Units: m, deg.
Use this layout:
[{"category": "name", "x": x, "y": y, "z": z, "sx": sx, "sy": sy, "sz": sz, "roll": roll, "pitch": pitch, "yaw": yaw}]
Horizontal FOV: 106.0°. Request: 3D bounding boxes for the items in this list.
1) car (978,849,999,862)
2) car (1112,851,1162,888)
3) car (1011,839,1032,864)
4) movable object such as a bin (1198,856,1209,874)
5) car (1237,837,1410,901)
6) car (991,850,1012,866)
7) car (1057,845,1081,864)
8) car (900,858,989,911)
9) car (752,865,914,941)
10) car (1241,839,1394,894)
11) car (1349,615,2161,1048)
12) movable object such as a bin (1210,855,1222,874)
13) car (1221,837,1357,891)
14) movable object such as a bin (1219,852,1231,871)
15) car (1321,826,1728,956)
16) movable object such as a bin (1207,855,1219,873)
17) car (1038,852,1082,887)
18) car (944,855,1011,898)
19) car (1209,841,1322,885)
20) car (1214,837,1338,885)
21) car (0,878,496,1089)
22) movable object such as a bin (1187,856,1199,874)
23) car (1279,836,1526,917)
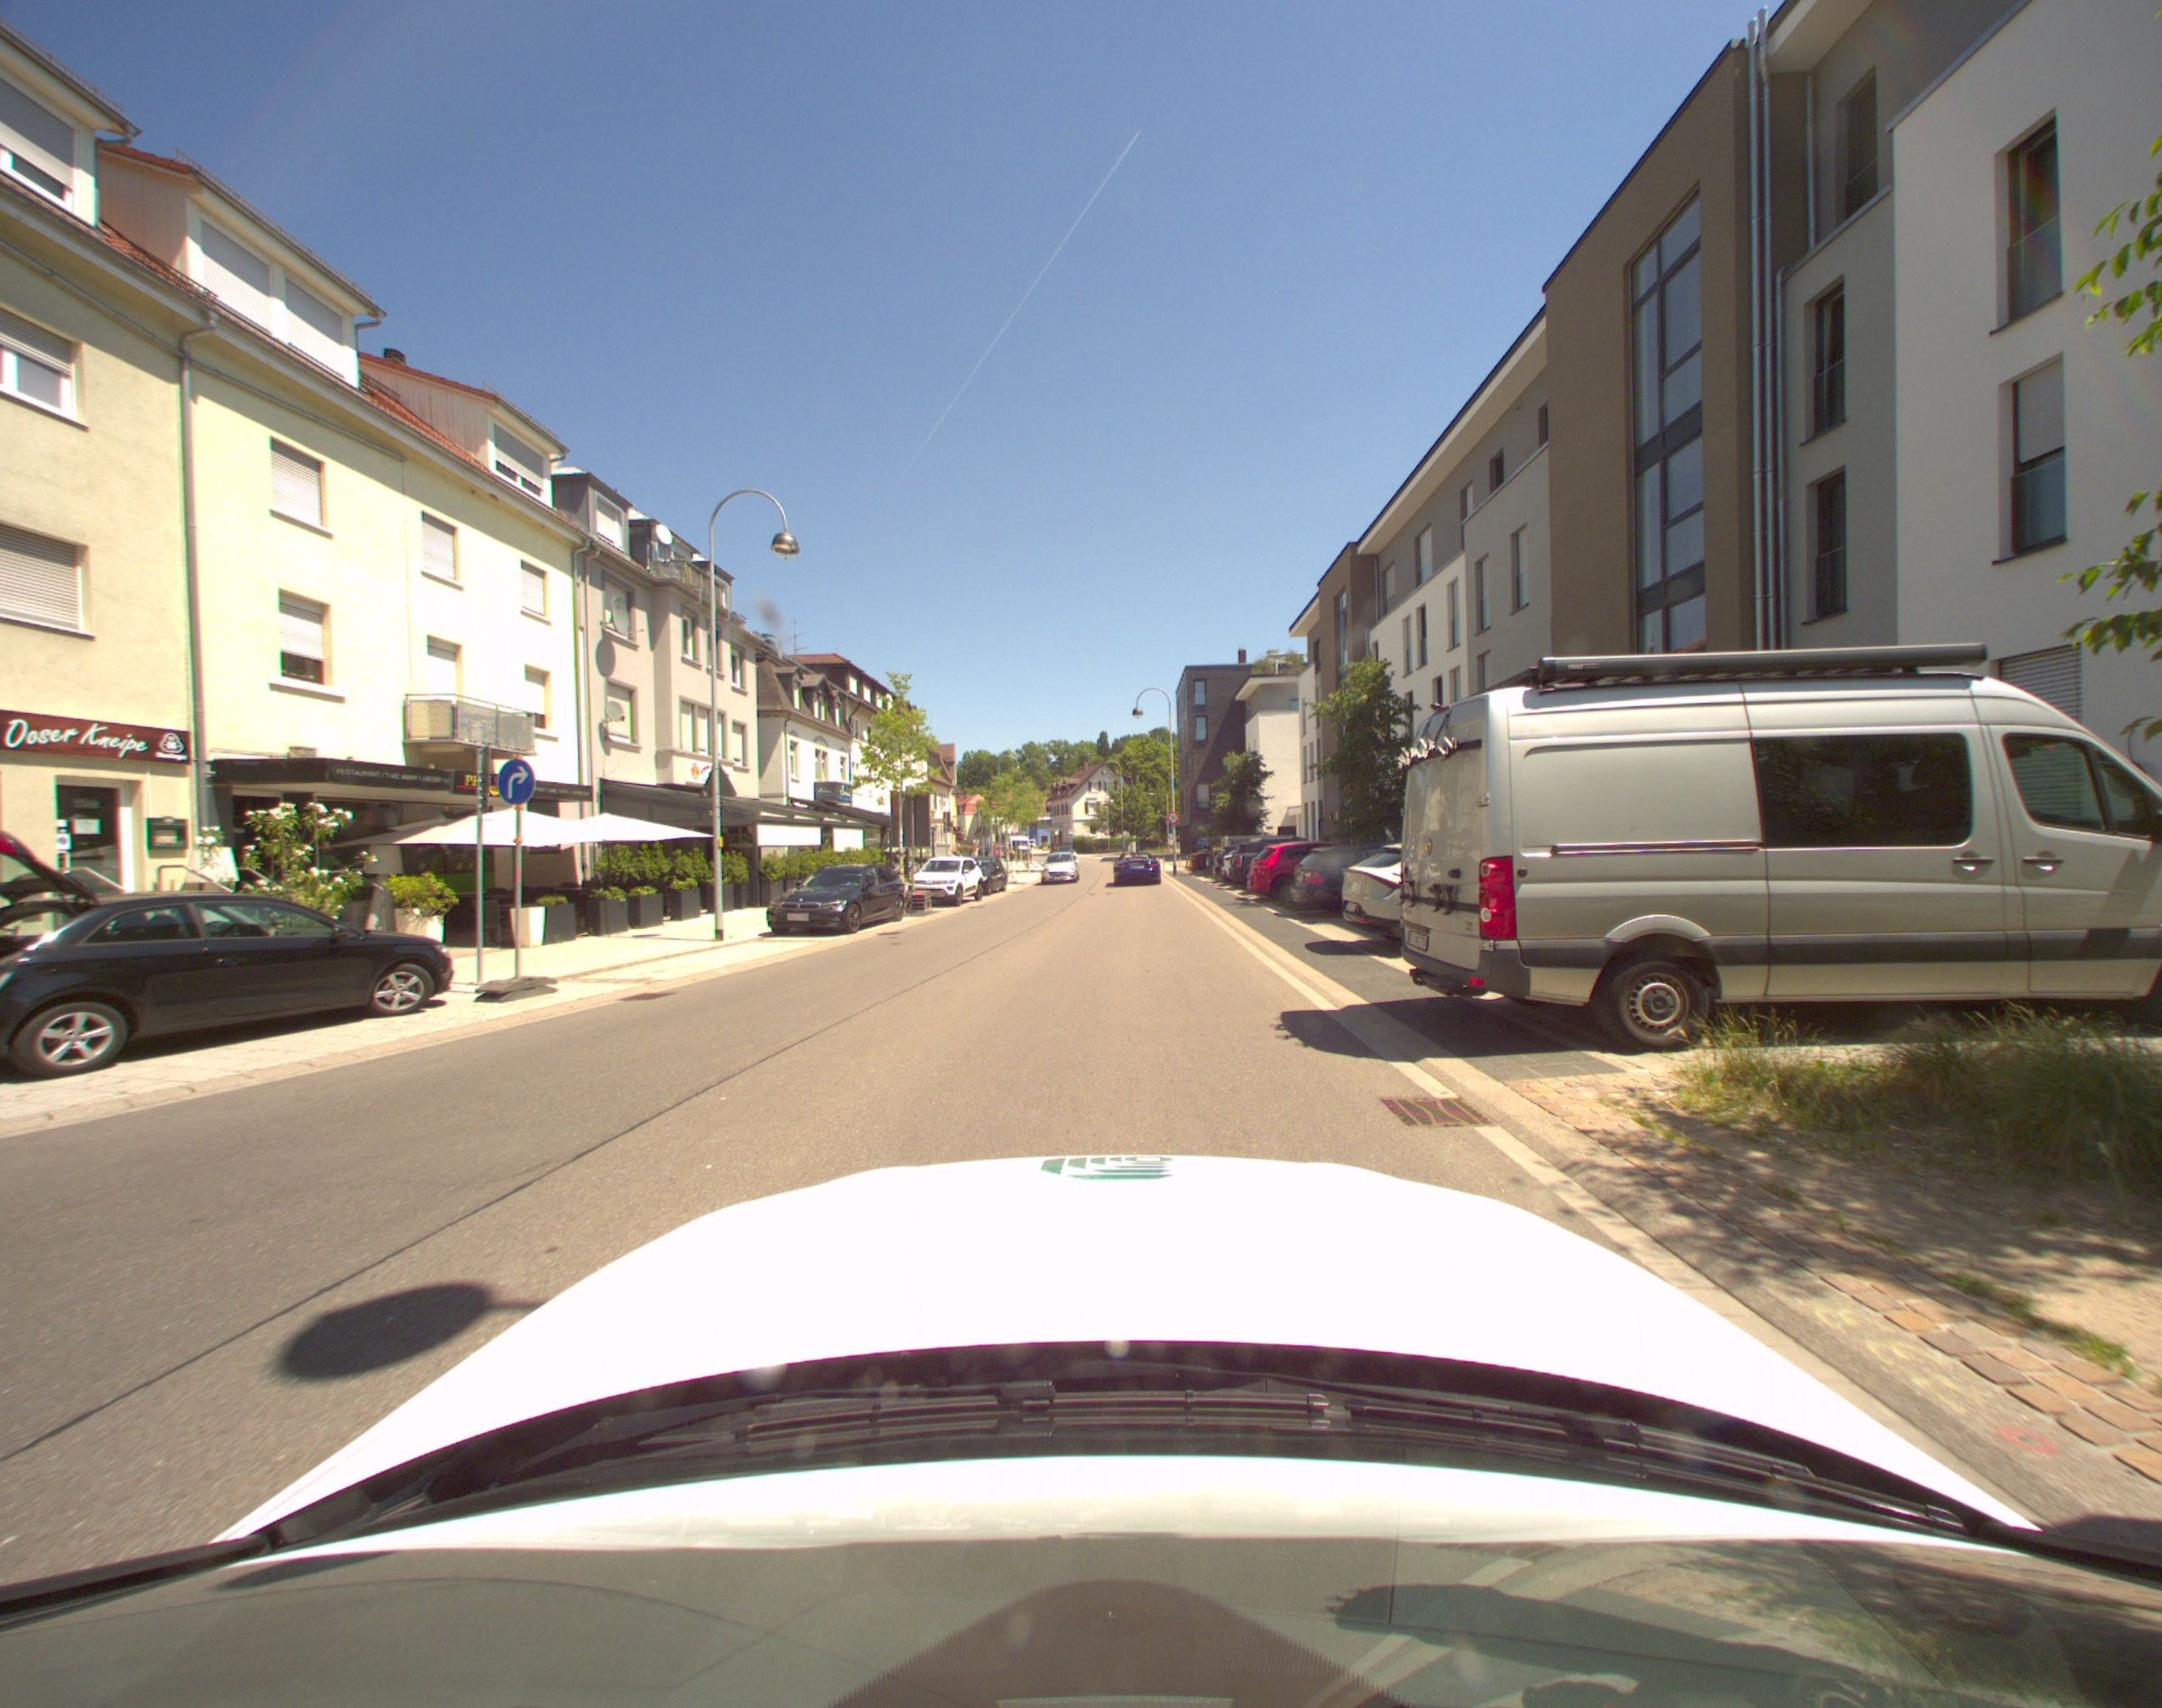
[{"category": "car", "x": -11.815, "y": 0.176, "z": 103.442, "sx": 1.998, "sy": 1.692, "sz": 3.978, "roll": -1, "pitch": 0, "yaw": -16}, {"category": "car", "x": 2.401, "y": 0.596, "z": 33.933, "sx": 1.861, "sy": 1.342, "sz": 4.604, "roll": -3, "pitch": 0, "yaw": 6}, {"category": "car", "x": -6.069, "y": -0.286, "z": 82.633, "sx": 1.865, "sy": 2.400, "sz": 4.805, "roll": -2, "pitch": 0, "yaw": -8}, {"category": "movable object such as a bin", "x": 6.594, "y": 0.570, "z": 43.946, "sx": 0.492, "sy": 0.929, "sz": 0.624, "roll": -4, "pitch": 0, "yaw": 4}, {"category": "car", "x": 6.208, "y": 0.371, "z": 21.212, "sx": 3.955, "sy": 1.408, "sz": 1.858, "roll": -3, "pitch": 0, "yaw": 2}, {"category": "car", "x": -8.907, "y": 0.440, "z": 91.437, "sx": 1.994, "sy": 1.738, "sz": 3.986, "roll": -2, "pitch": 0, "yaw": -10}, {"category": "car", "x": -1.105, "y": 0.046, "z": 73.089, "sx": 1.659, "sy": 1.606, "sz": 3.990, "roll": -4, "pitch": 0, "yaw": -7}, {"category": "car", "x": -4.291, "y": 0.918, "z": 26.219, "sx": 1.635, "sy": 1.479, "sz": 3.951, "roll": 0, "pitch": 1, "yaw": 9}, {"category": "car", "x": -5.527, "y": 1.020, "z": 18.867, "sx": 1.825, "sy": 1.429, "sz": 4.791, "roll": 0, "pitch": 1, "yaw": 6}, {"category": "car", "x": 6.837, "y": 0.343, "z": 23.813, "sx": 3.964, "sy": 1.432, "sz": 1.764, "roll": -2, "pitch": 0, "yaw": 2}, {"category": "car", "x": 5.469, "y": -0.142, "z": 6.484, "sx": 5.915, "sy": 2.732, "sz": 2.198, "roll": -2, "pitch": 0, "yaw": 3}, {"category": "movable object such as a bin", "x": 6.739, "y": 0.526, "z": 40.563, "sx": 0.492, "sy": 0.929, "sz": 0.624, "roll": -4, "pitch": 0, "yaw": 4}, {"category": "car", "x": 6.694, "y": 0.315, "z": 26.596, "sx": 3.964, "sy": 1.605, "sz": 1.944, "roll": -2, "pitch": 0, "yaw": 2}, {"category": "movable object such as a bin", "x": 7.334, "y": 0.381, "z": 41.564, "sx": 0.492, "sy": 0.929, "sz": 0.624, "roll": -2, "pitch": 0, "yaw": 4}, {"category": "car", "x": 5.906, "y": 0.479, "z": 11.370, "sx": 4.567, "sy": 1.529, "sz": 2.002, "roll": -2, "pitch": 0, "yaw": 4}, {"category": "movable object such as a bin", "x": 7.114, "y": 0.538, "z": 43.921, "sx": 0.492, "sy": 0.929, "sz": 0.624, "roll": -4, "pitch": 0, "yaw": 4}, {"category": "car", "x": -0.949, "y": 0.709, "z": 39.410, "sx": 1.679, "sy": 1.458, "sz": 4.063, "roll": -3, "pitch": 0, "yaw": 4}, {"category": "car", "x": -3.946, "y": 0.830, "z": 31.660, "sx": 1.661, "sy": 1.443, "sz": 4.017, "roll": -2, "pitch": 0, "yaw": 6}, {"category": "car", "x": 6.977, "y": 0.327, "z": 31.079, "sx": 3.964, "sy": 1.529, "sz": 1.742, "roll": -2, "pitch": 0, "yaw": 2}, {"category": "car", "x": 6.890, "y": 0.236, "z": 29.077, "sx": 3.964, "sy": 1.529, "sz": 1.944, "roll": -2, "pitch": 0, "yaw": 2}, {"category": "car", "x": -8.434, "y": 1.029, "z": 8.059, "sx": 1.700, "sy": 1.460, "sz": 4.145, "roll": 1, "pitch": 0, "yaw": 14}, {"category": "movable object such as a bin", "x": 6.049, "y": 0.573, "z": 43.994, "sx": 0.534, "sy": 0.929, "sz": 0.624, "roll": -4, "pitch": 0, "yaw": 4}, {"category": "car", "x": 6.388, "y": 0.437, "z": 16.550, "sx": 4.244, "sy": 1.416, "sz": 1.928, "roll": -2, "pitch": 0, "yaw": 0}]
